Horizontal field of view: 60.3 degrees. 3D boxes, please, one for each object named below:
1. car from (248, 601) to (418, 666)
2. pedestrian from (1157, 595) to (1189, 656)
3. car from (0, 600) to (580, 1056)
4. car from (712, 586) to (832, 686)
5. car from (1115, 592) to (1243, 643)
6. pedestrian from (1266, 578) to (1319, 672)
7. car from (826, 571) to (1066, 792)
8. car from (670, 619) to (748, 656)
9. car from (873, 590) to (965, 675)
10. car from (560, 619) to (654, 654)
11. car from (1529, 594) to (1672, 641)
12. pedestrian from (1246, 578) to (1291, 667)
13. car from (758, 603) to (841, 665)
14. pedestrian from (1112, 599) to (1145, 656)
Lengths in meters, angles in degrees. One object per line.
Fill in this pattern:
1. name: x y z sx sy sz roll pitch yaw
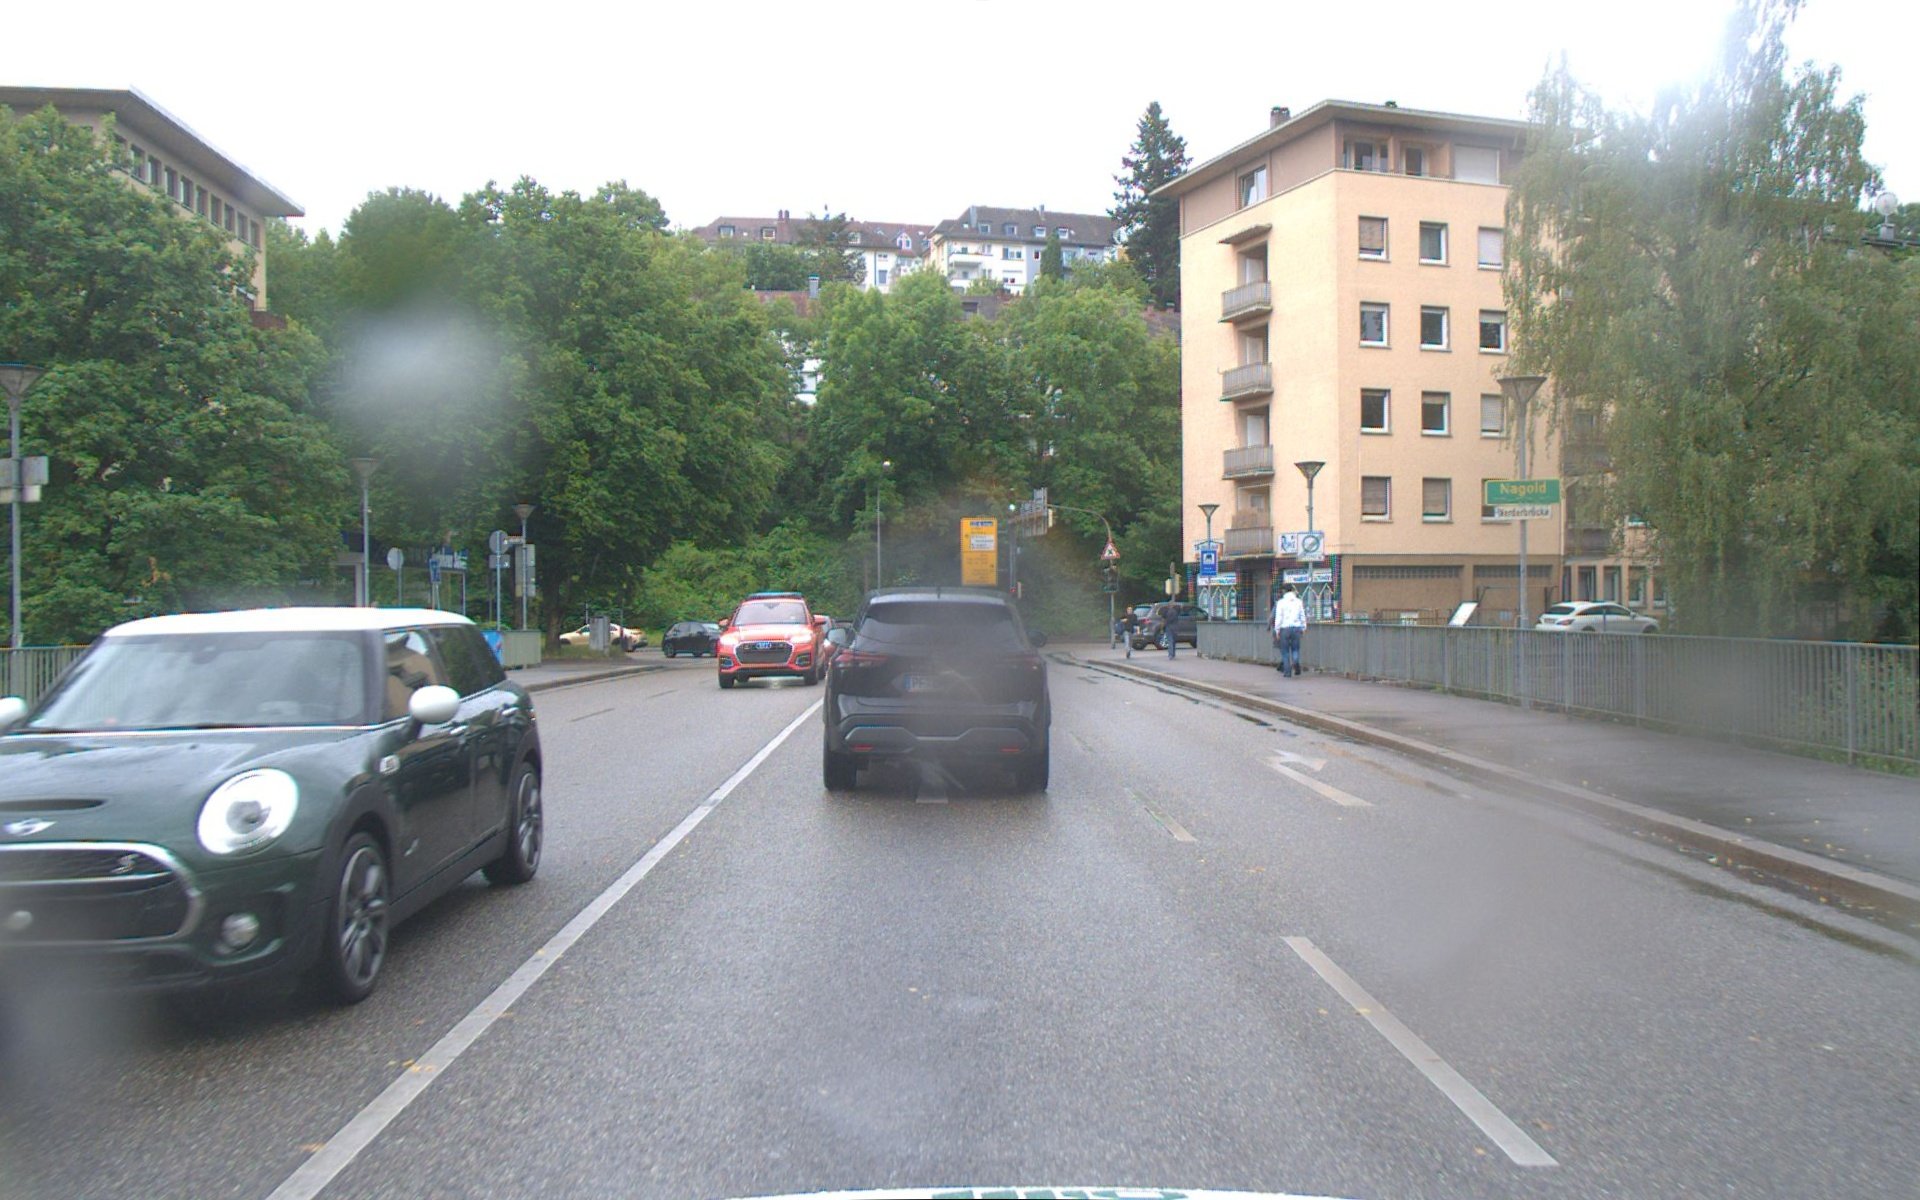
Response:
1. car: -19.579 1.020 51.849 4.655 1.886 1.996 0 1 -10
2. pedestrian: 6.068 0.718 47.123 0.745 1.706 0.781 -3 0 -1
3. car: -3.009 0.755 7.418 1.710 1.464 3.999 -1 0 -1
4. car: -3.598 0.652 32.372 1.850 1.765 4.370 -2 0 -1
5. car: 7.974 0.629 60.287 4.315 1.678 1.867 -2 -1 -27
6. pedestrian: 6.452 0.480 32.162 0.764 1.783 1.060 -1 -1 -2
7. car: -0.139 0.619 14.314 1.774 1.631 3.999 0 0 -1
8. car: -10.441 1.558 68.534 1.693 1.441 4.048 -2 0 -32
9. car: -0.832 0.624 34.110 1.774 1.631 3.999 1 0 -1
10. car: -16.729 1.722 78.523 3.995 1.441 1.716 -2 0 4
11. car: 21.562 0.569 55.704 4.370 1.400 1.808 -1 2 -18
12. pedestrian: 6.466 0.467 34.677 0.745 1.840 0.781 -2 0 -1
13. car: -4.064 0.843 42.463 1.745 1.427 4.218 -2 0 -1
14. pedestrian: 5.020 0.809 49.404 0.845 1.647 0.839 -2 -1 -1
